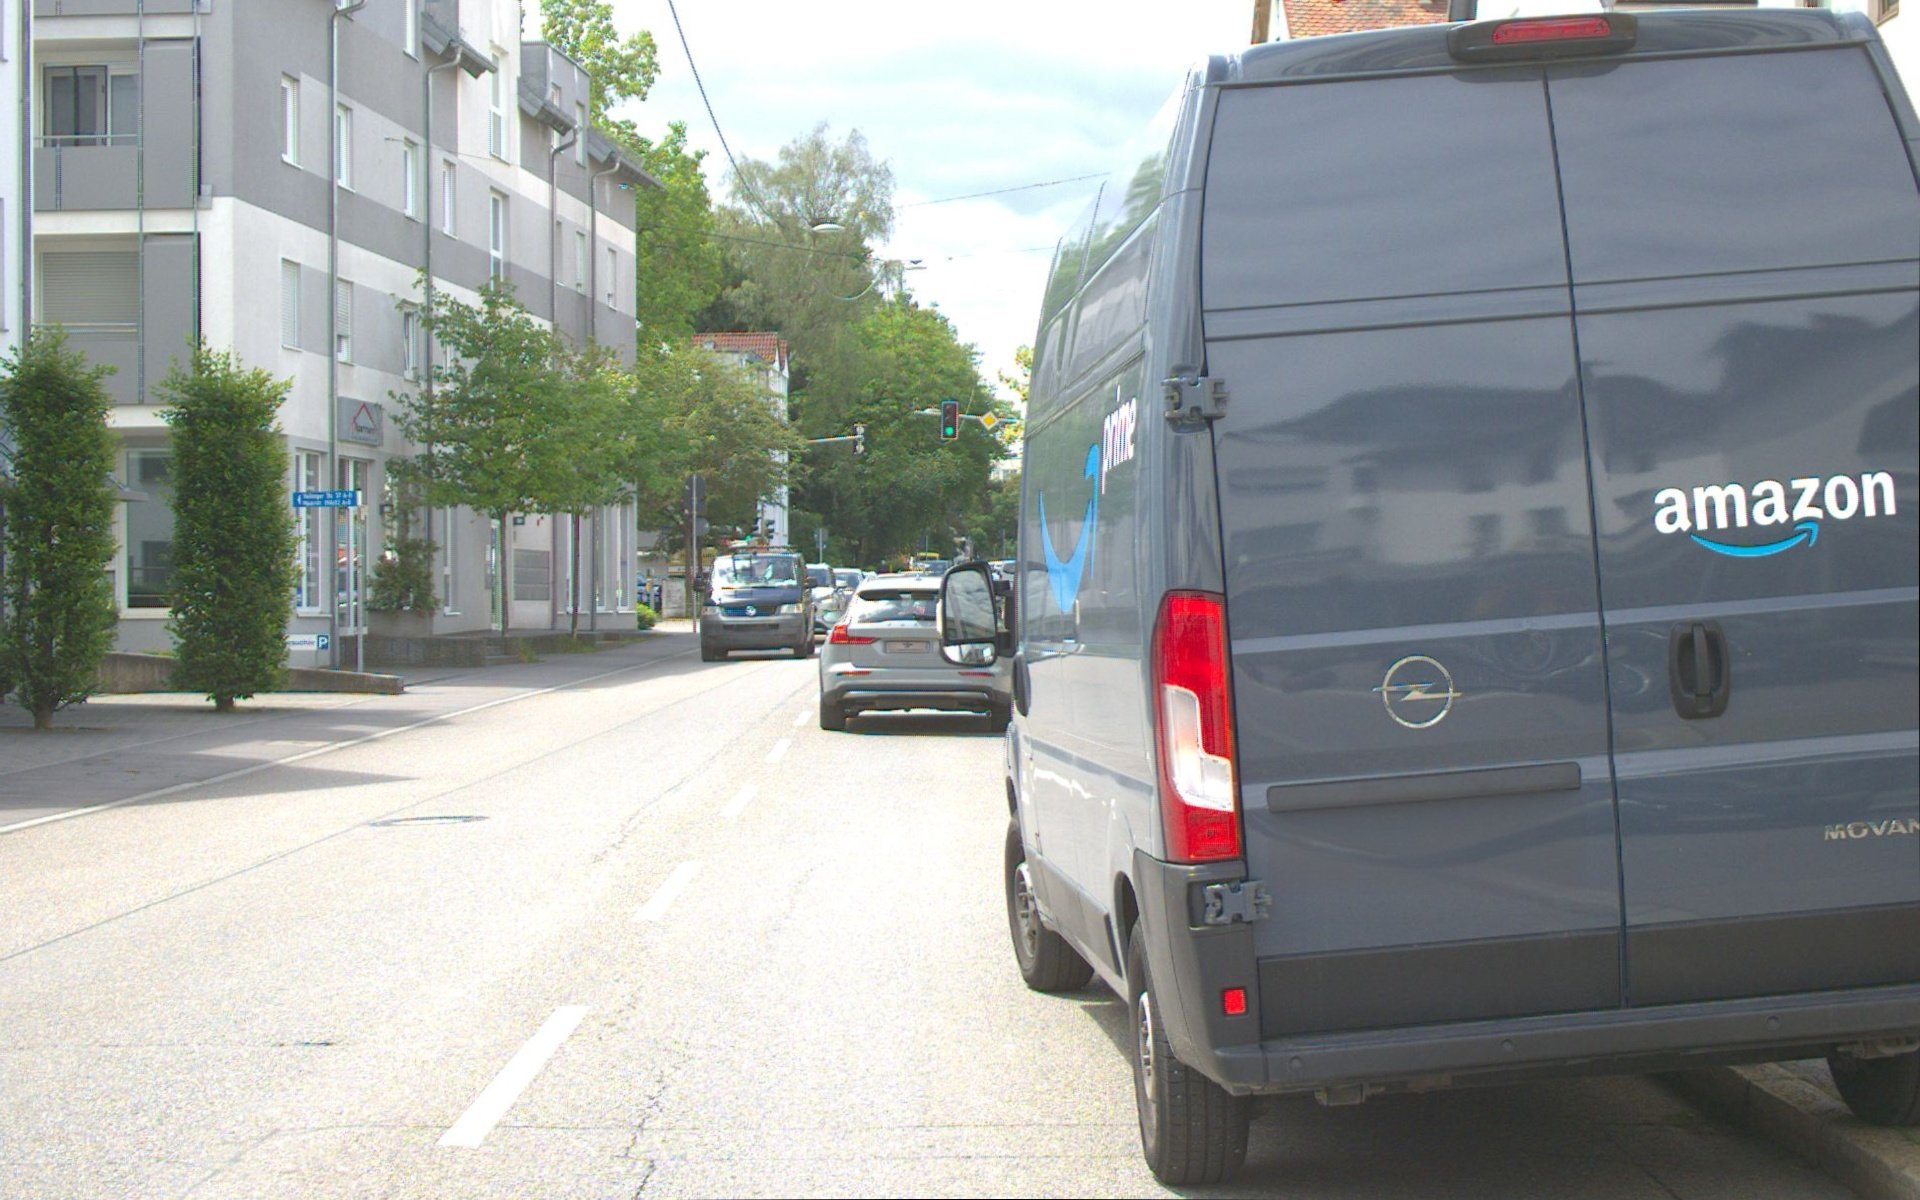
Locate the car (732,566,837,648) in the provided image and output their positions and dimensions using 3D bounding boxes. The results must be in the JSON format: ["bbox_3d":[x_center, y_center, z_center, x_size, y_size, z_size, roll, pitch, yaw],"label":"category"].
[{"bbox_3d":[-3.761,0.123,74.372,2.105,1.704,4.766,0,0,-1],"label":"car"}]

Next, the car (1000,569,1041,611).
[{"bbox_3d":[2.997,-0.499,169.989,1.993,2.007,4.000,0,0,1],"label":"car"}]

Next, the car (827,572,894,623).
[{"bbox_3d":[-3.194,-0.083,110.924,2.105,1.590,4.650,0,0,-1],"label":"car"}]

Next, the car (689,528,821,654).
[{"bbox_3d":[-3.670,-0.170,62.395,2.105,2.114,4.766,-2,0,-1],"label":"car"}]

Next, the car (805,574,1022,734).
[{"bbox_3d":[-0.397,0.483,33.651,1.896,1.448,3.968,1,1,2],"label":"car"}]

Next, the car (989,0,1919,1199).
[{"bbox_3d":[1.321,-0.010,10.264,2.252,2.786,5.569,0,0,-1],"label":"car"}]

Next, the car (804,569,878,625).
[{"bbox_3d":[-3.491,-0.110,101.411,2.105,1.590,4.650,0,0,-1],"label":"car"}]

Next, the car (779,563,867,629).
[{"bbox_3d":[-3.400,-0.110,86.100,2.105,1.590,4.650,0,0,-1],"label":"car"}]
